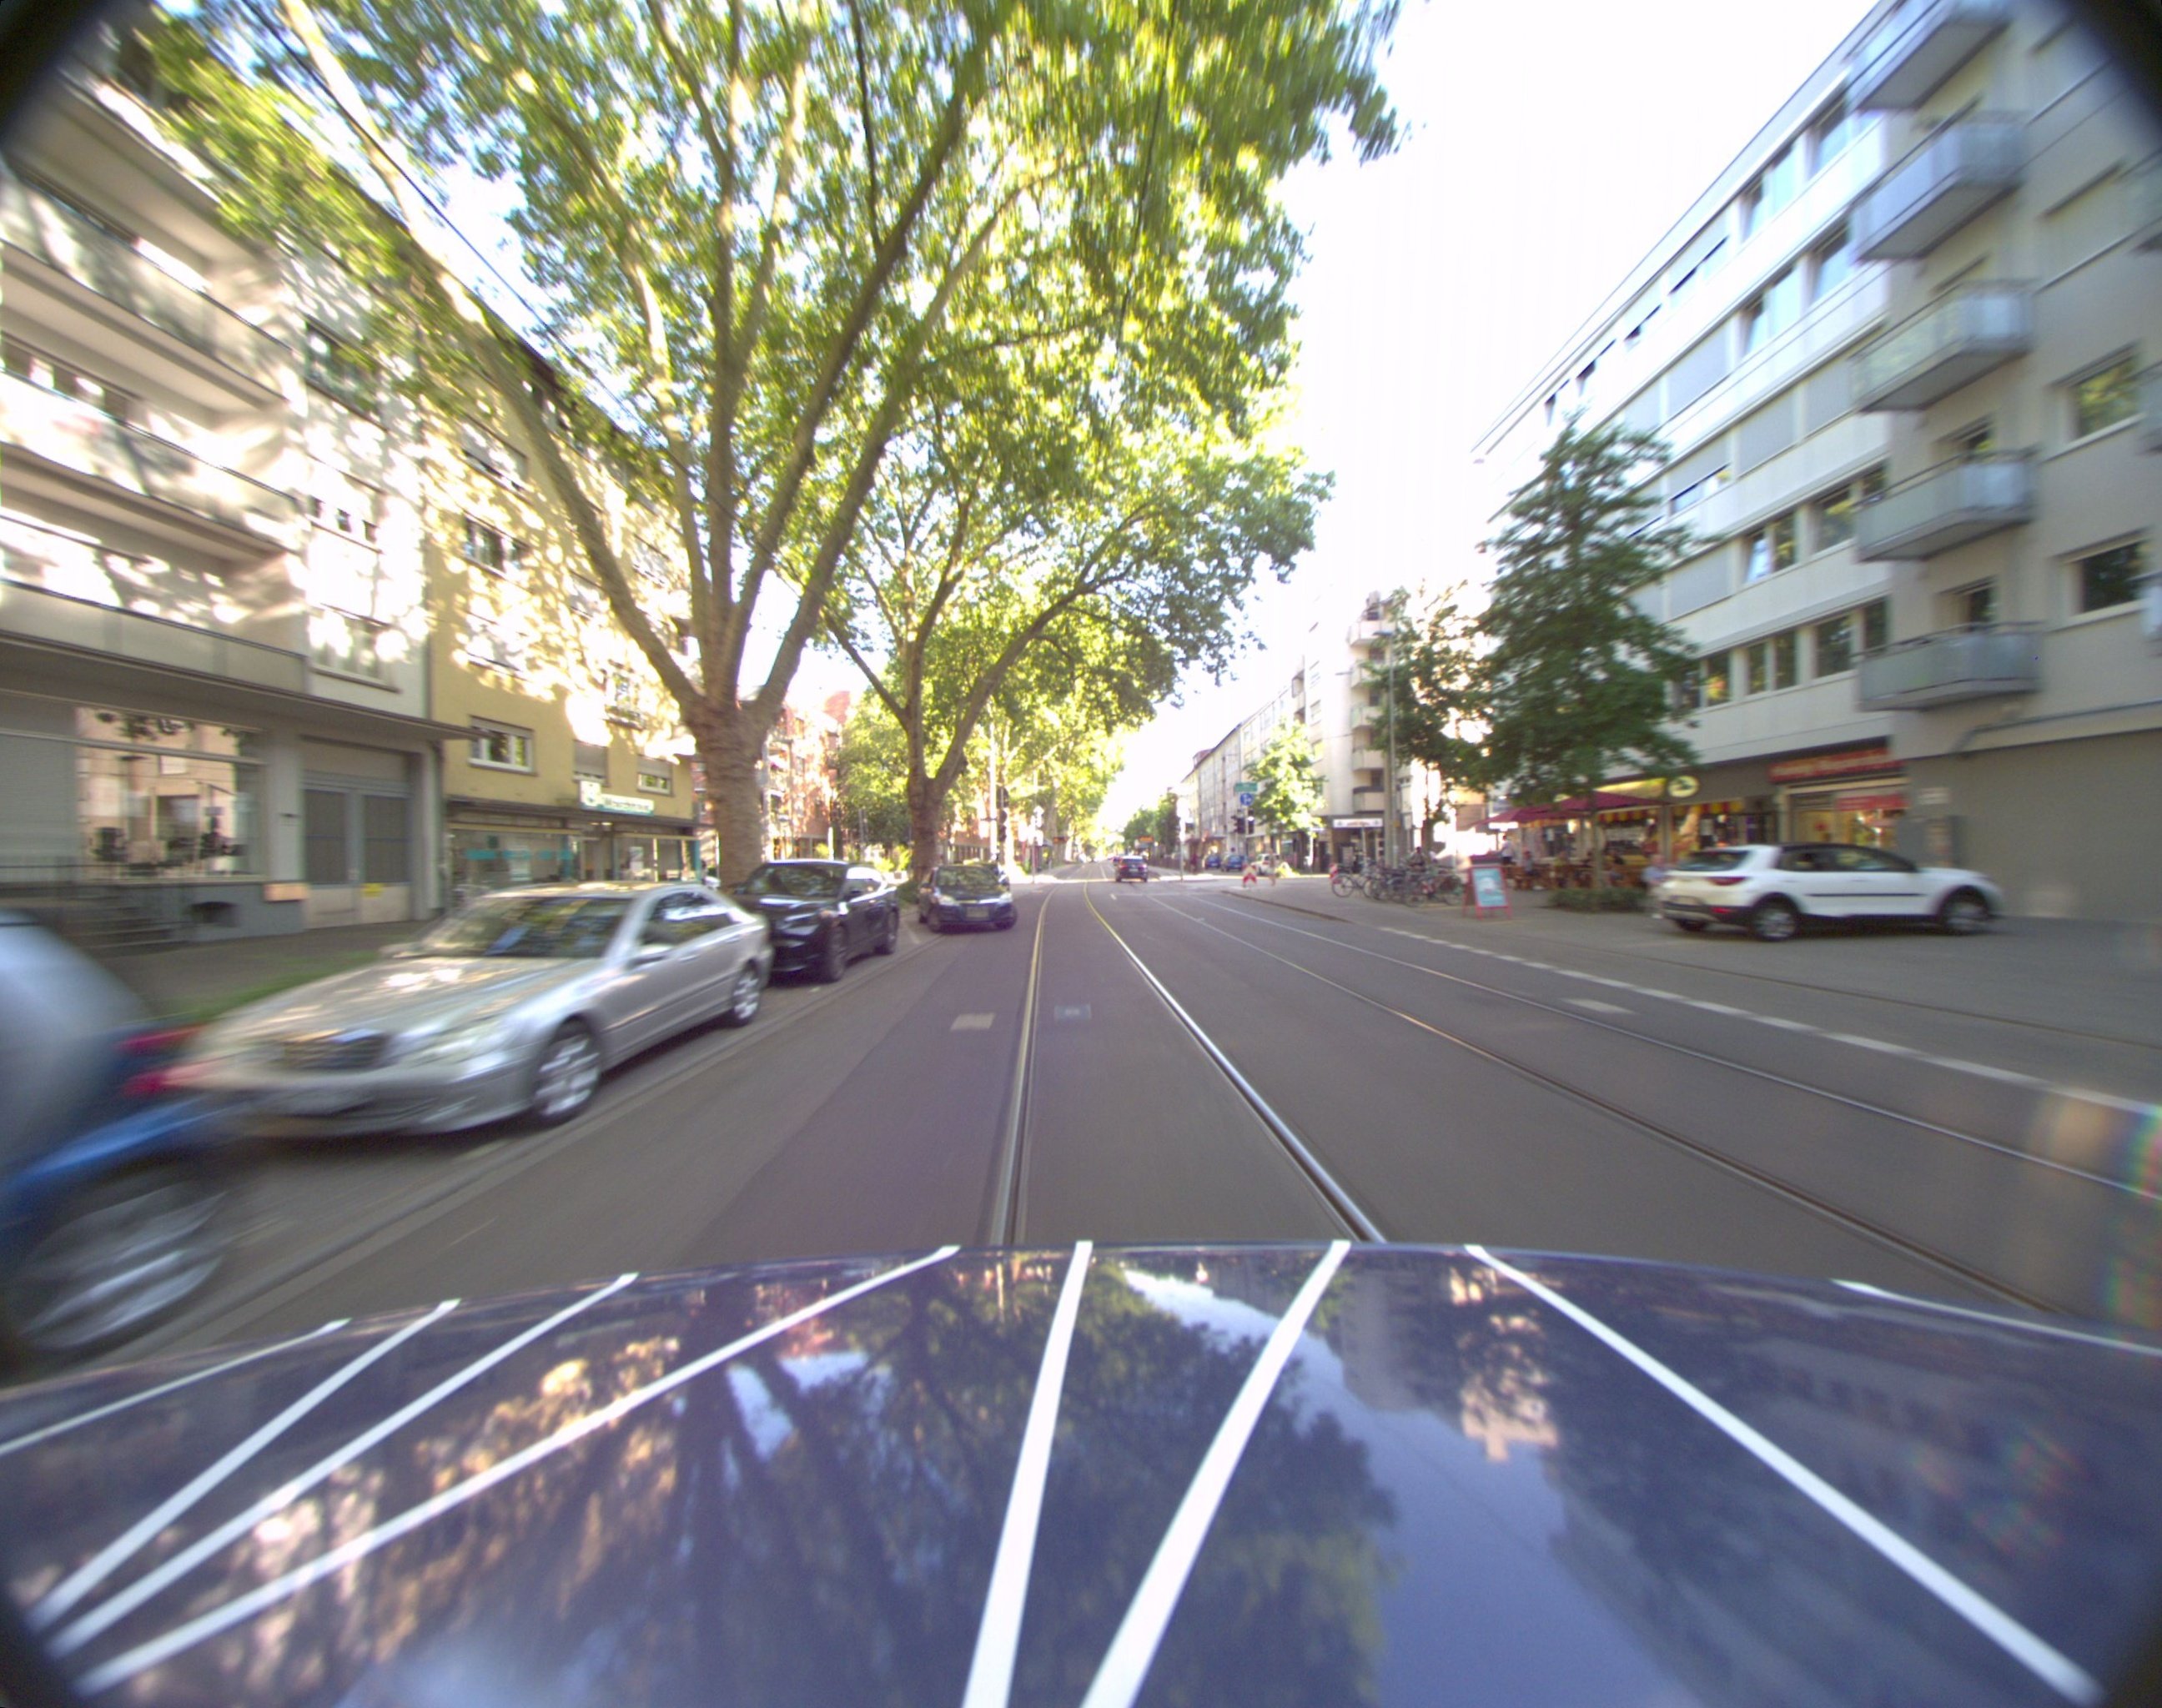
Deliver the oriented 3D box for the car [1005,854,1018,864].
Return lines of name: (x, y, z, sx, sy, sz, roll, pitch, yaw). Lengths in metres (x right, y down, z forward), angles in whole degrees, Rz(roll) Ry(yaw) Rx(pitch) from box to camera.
car: (-11.213, 0.771, 122.370, 1.657, 1.499, 3.961, -1, 0, 1)

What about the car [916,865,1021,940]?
car: (-2.730, 1.015, 17.672, 1.872, 1.429, 4.220, 0, 0, -16)

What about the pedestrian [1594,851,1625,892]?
pedestrian: (15.701, 0.517, 22.572, 0.514, 1.191, 0.562, -1, 1, -28)

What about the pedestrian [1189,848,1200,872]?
pedestrian: (7.624, 0.394, 51.042, 0.655, 1.576, 0.772, -1, 1, 2)

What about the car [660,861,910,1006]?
car: (-4.010, 0.954, 11.323, 1.862, 1.594, 4.781, 0, 1, 0)

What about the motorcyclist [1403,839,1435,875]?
motorcyclist: (13.594, 0.116, 30.575, 0.875, 1.432, 1.016, -1, 0, 2)

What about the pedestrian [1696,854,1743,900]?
pedestrian: (16.717, 0.590, 19.904, 0.674, 1.191, 0.655, -1, 1, 0)

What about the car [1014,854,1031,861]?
car: (-13.562, 0.801, 176.062, 3.674, 1.521, 2.000, -1, 0, 2)

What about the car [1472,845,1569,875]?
car: (24.341, 0.326, 42.190, 4.291, 1.495, 1.895, -1, 0, 2)

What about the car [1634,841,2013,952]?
car: (11.442, 0.617, 11.968, 4.021, 1.467, 1.852, -2, 1, 4)

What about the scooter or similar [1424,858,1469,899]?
scooter or similar: (10.831, 0.723, 22.535, 1.082, 1.169, 0.498, -2, 1, 0)

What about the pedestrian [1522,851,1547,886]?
pedestrian: (15.806, 0.499, 26.480, 0.513, 1.191, 0.563, -1, 1, -15)

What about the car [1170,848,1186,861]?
car: (13.957, 0.073, 109.515, 1.808, 1.923, 4.049, -1, 0, 0)

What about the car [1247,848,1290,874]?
car: (12.909, 0.442, 52.541, 1.882, 1.641, 4.358, -3, 0, 0)

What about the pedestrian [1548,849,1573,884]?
pedestrian: (16.499, 0.418, 26.141, 0.565, 1.191, 0.512, -1, 1, -34)

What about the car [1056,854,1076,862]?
car: (-3.009, 0.751, 151.800, 3.872, 1.521, 2.000, -1, 0, 2)

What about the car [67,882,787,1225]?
car: (-4.060, 1.059, 6.014, 1.821, 1.427, 4.601, 0, 1, -2)

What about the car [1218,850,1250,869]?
car: (12.988, 0.442, 64.647, 1.961, 1.535, 4.389, 0, 0, 1)

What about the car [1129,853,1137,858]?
car: (14.290, 0.398, 209.088, 1.998, 1.521, 3.679, -1, 0, 4)

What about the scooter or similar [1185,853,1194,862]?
scooter or similar: (14.458, 0.447, 101.201, 0.447, 1.167, 1.272, -1, 0, -35)

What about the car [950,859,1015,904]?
car: (-3.581, 0.954, 28.492, 1.769, 1.454, 5.011, -1, 0, 0)

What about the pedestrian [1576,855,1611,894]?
pedestrian: (15.807, 0.622, 23.437, 0.603, 1.191, 0.690, -1, 1, -34)

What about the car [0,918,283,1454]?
car: (-4.023, 1.032, 1.577, 1.567, 1.510, 2.910, 0, 1, 3)

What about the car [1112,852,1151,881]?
car: (2.968, 0.740, 45.626, 1.876, 1.580, 4.146, -1, -1, -2)

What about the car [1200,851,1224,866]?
car: (13.028, 0.458, 75.878, 1.799, 1.455, 4.282, 0, 0, 1)

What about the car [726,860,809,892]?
car: (-17.729, 1.226, 43.085, 3.871, 1.683, 1.866, -1, 0, 1)

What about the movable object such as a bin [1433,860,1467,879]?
movable object such as a bin: (15.998, 0.678, 32.961, 1.197, 0.753, 0.665, -2, 1, -20)

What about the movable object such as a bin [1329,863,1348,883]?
movable object such as a bin: (11.983, 0.868, 35.337, 0.541, 0.927, 0.649, -1, 0, -16)

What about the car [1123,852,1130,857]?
car: (15.658, 0.089, 260.626, 1.998, 1.521, 3.678, -1, 0, 1)

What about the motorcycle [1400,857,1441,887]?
motorcycle: (13.615, 0.699, 30.528, 0.851, 1.157, 1.915, -1, 0, 2)

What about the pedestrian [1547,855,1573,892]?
pedestrian: (15.634, 0.623, 24.822, 0.512, 1.191, 0.564, -1, 1, 3)

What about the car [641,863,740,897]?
car: (-19.070, 1.274, 37.225, 3.871, 1.542, 1.867, -1, -2, 1)

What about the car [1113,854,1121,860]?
car: (8.442, 0.698, 179.064, 1.766, 1.579, 4.000, -1, 0, 0)
